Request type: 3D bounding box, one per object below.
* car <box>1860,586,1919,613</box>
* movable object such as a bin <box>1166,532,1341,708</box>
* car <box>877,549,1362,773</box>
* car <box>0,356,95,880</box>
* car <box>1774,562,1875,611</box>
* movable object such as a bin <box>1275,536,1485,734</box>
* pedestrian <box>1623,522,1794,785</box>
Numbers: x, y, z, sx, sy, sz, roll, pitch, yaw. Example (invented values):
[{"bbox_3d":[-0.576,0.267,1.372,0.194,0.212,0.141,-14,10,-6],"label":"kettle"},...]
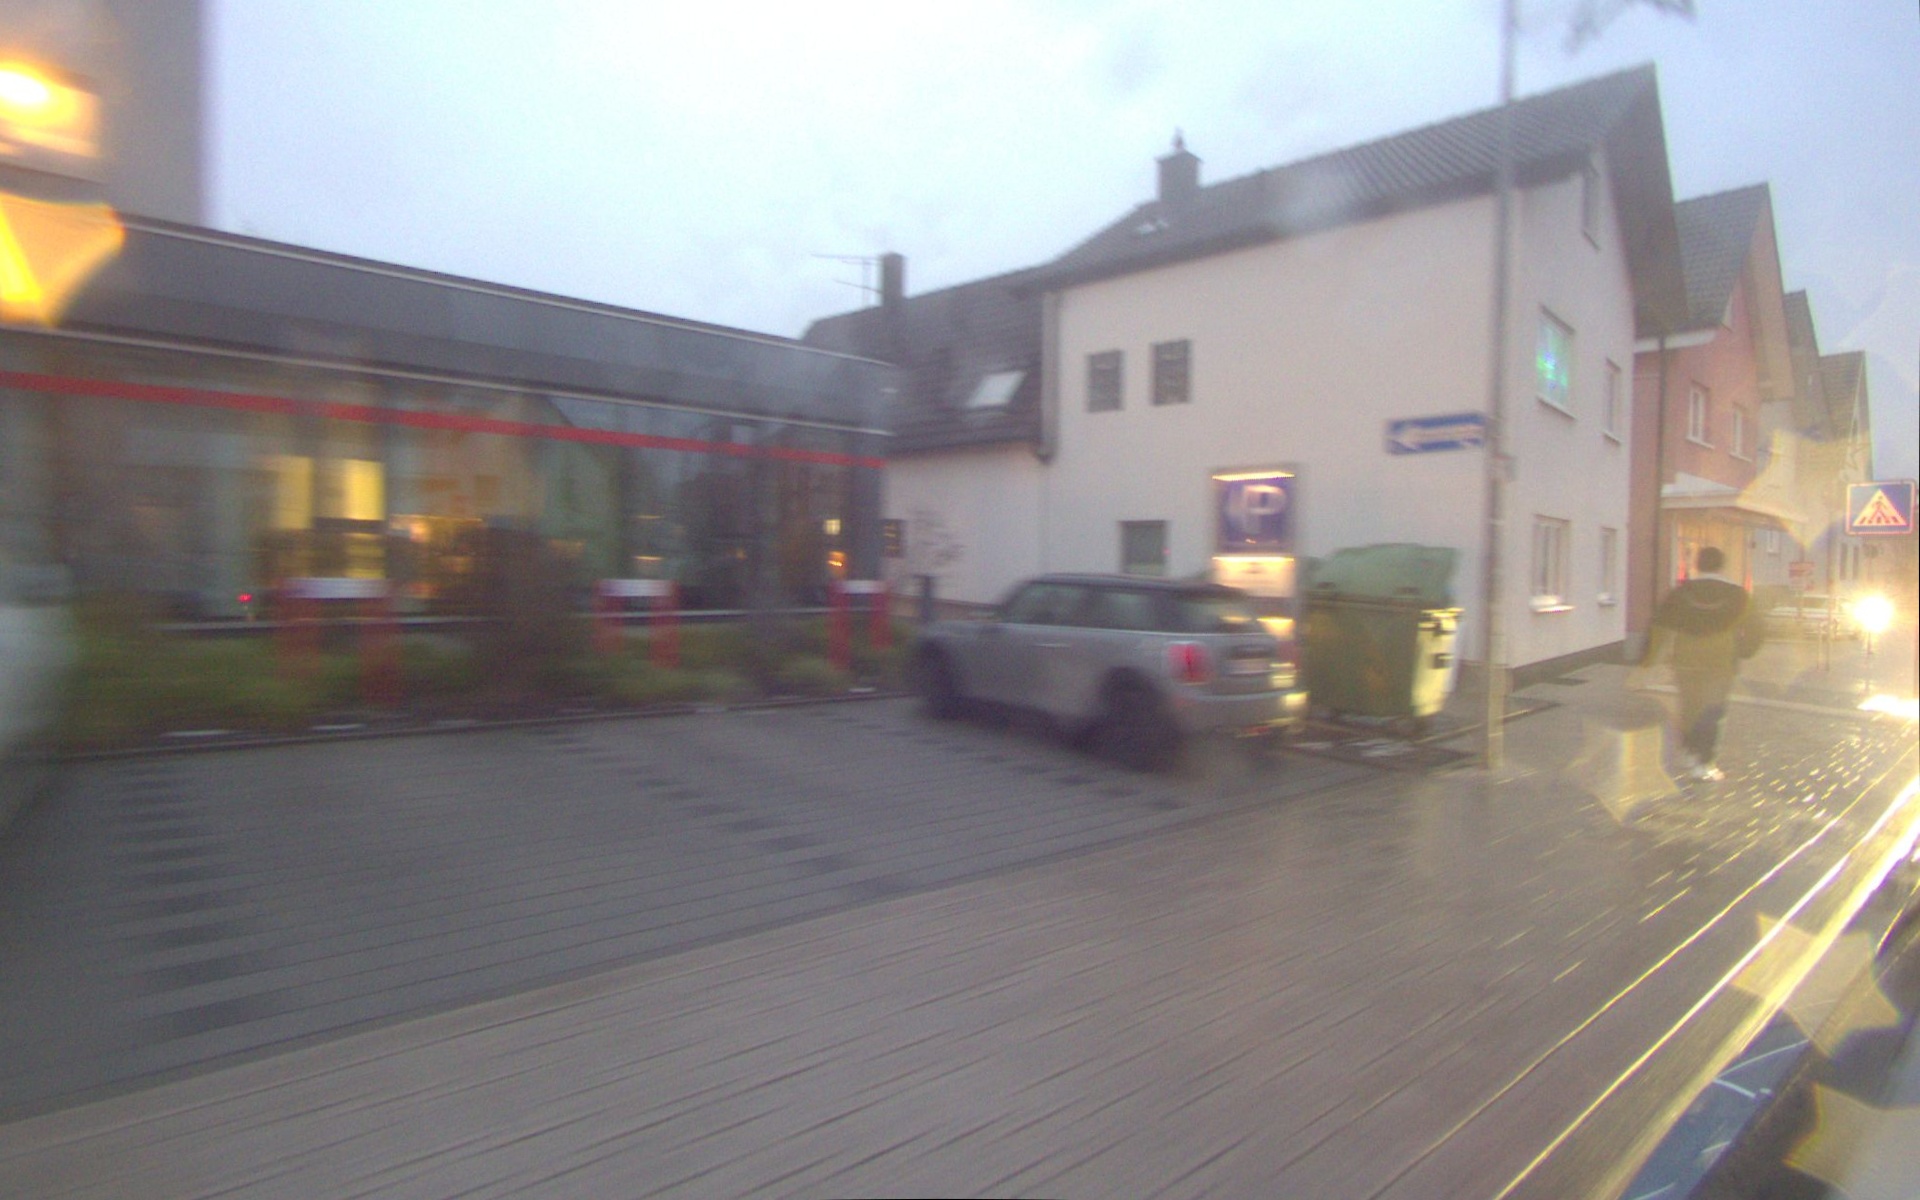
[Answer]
[{"bbox_3d":[53.583,-0.049,58.336,1.985,1.534,3.953,0,1,33],"label":"car"},{"bbox_3d":[3.060,0.160,10.567,1.286,1.664,1.166,5,3,45],"label":"movable object such as a bin"},{"bbox_3d":[1.175,0.311,8.933,1.879,1.504,3.997,-1,3,-39],"label":"car"},{"bbox_3d":[-4.766,0.060,3.693,1.961,2.074,4.107,0,3,-34],"label":"car"},{"bbox_3d":[28.468,-0.420,33.282,4.615,1.504,1.933,0,0,-41],"label":"car"},{"bbox_3d":[3.949,0.268,9.531,1.241,1.664,1.394,0,3,-45],"label":"movable object such as a bin"},{"bbox_3d":[5.969,0.384,8.071,0.967,1.913,0.990,0,0,45],"label":"pedestrian"}]
